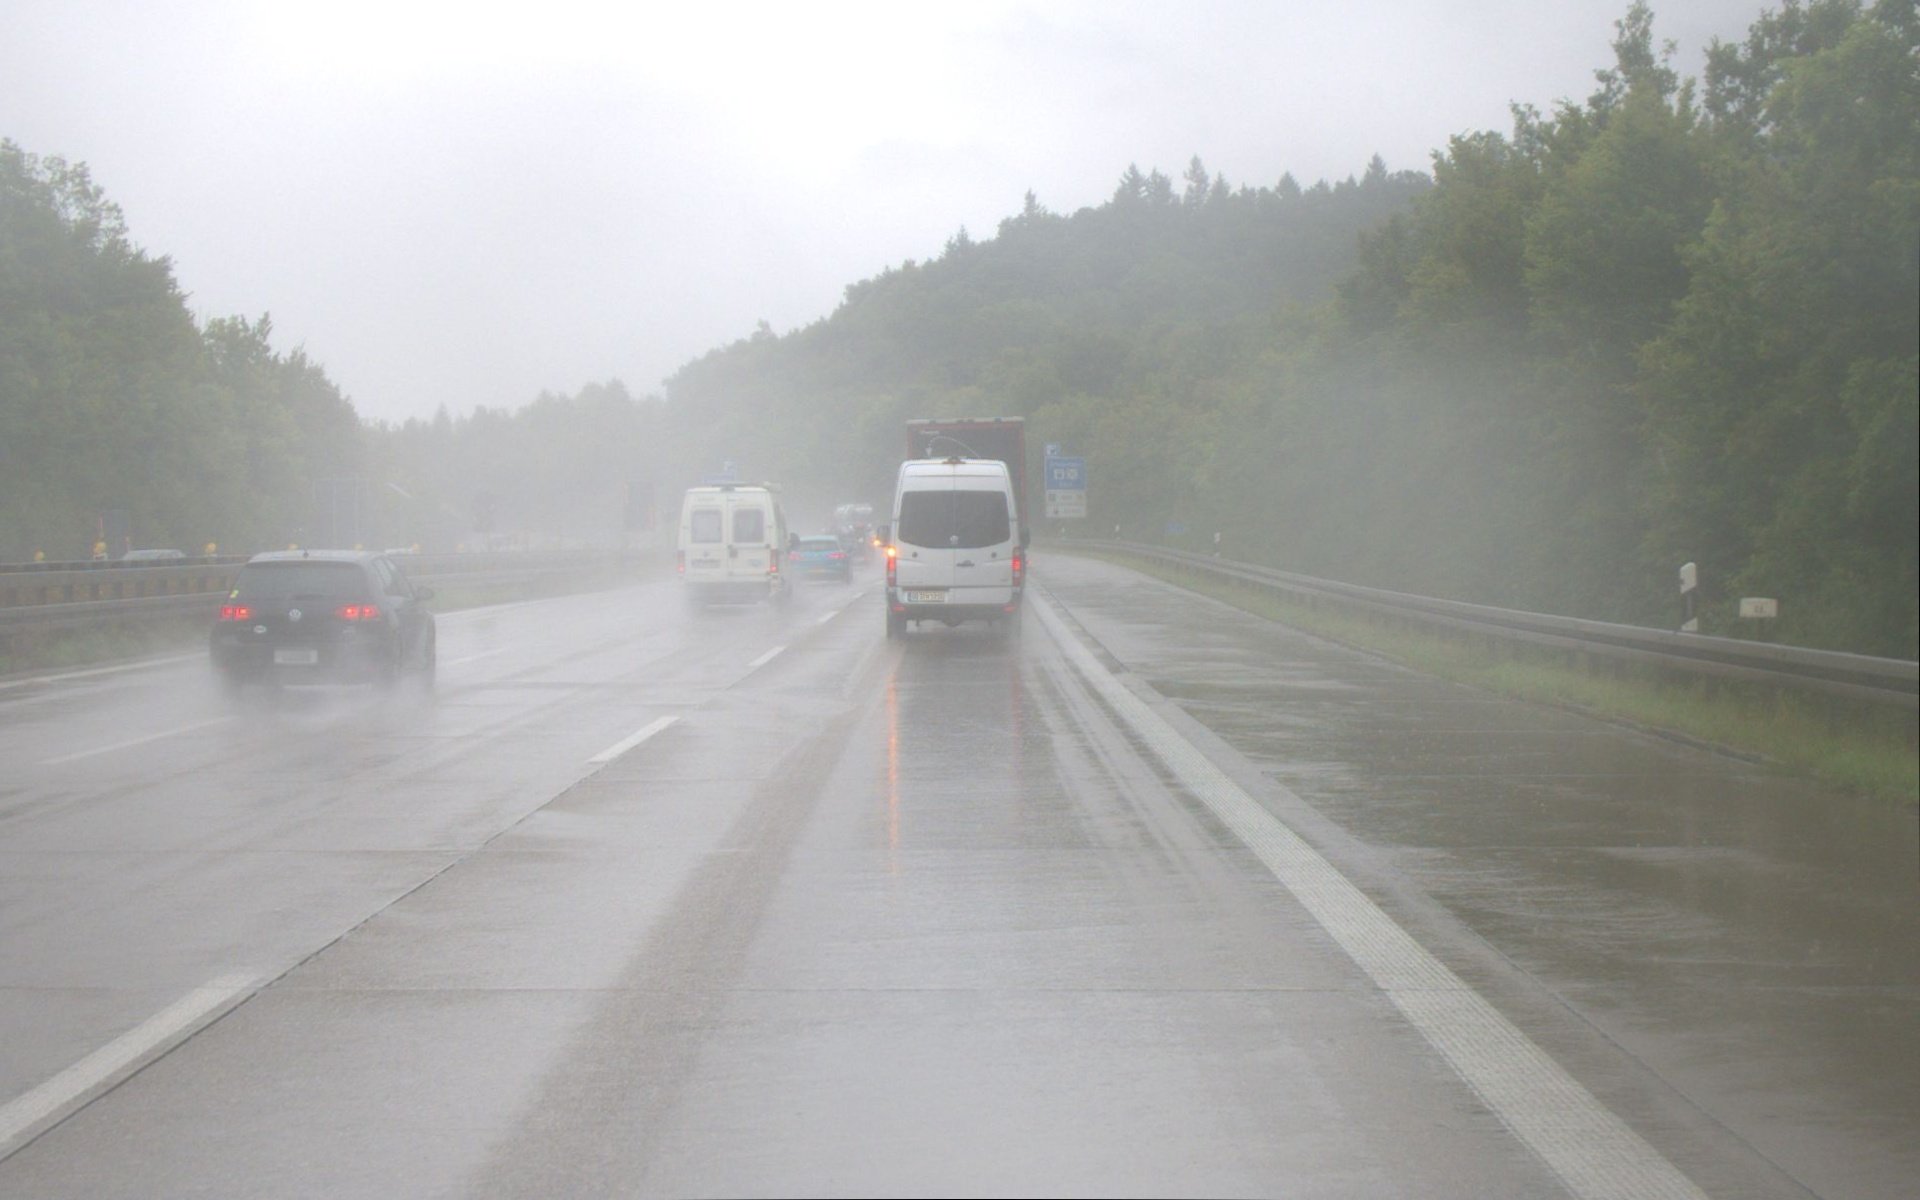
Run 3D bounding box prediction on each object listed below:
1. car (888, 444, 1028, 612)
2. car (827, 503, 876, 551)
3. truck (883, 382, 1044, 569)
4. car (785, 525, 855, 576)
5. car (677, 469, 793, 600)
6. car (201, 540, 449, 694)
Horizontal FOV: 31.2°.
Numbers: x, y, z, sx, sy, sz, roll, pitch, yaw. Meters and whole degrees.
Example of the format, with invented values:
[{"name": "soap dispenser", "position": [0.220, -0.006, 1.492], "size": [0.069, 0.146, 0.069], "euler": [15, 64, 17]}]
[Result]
[{"name": "car", "position": [-0.082, -1.089, 51.233], "size": [1.899, 2.326, 5.251], "euler": [2, 1, -1]}, {"name": "car", "position": [-4.292, -2.896, 136.290], "size": [1.868, 1.803, 4.189], "euler": [2, 1, -1]}, {"name": "truck", "position": [0.025, -2.966, 79.209], "size": [3.385, 3.954, 8.668], "euler": [-2, 3, -1]}, {"name": "car", "position": [-3.987, -1.429, 97.528], "size": [1.856, 1.334, 4.352], "euler": [2, 1, -3]}, {"name": "car", "position": [-4.419, -1.324, 68.211], "size": [1.997, 2.423, 5.791], "euler": [2, 1, -2]}, {"name": "car", "position": [-6.153, 0.117, 33.753], "size": [1.740, 1.383, 4.322], "euler": [-1, 1, -2]}]
